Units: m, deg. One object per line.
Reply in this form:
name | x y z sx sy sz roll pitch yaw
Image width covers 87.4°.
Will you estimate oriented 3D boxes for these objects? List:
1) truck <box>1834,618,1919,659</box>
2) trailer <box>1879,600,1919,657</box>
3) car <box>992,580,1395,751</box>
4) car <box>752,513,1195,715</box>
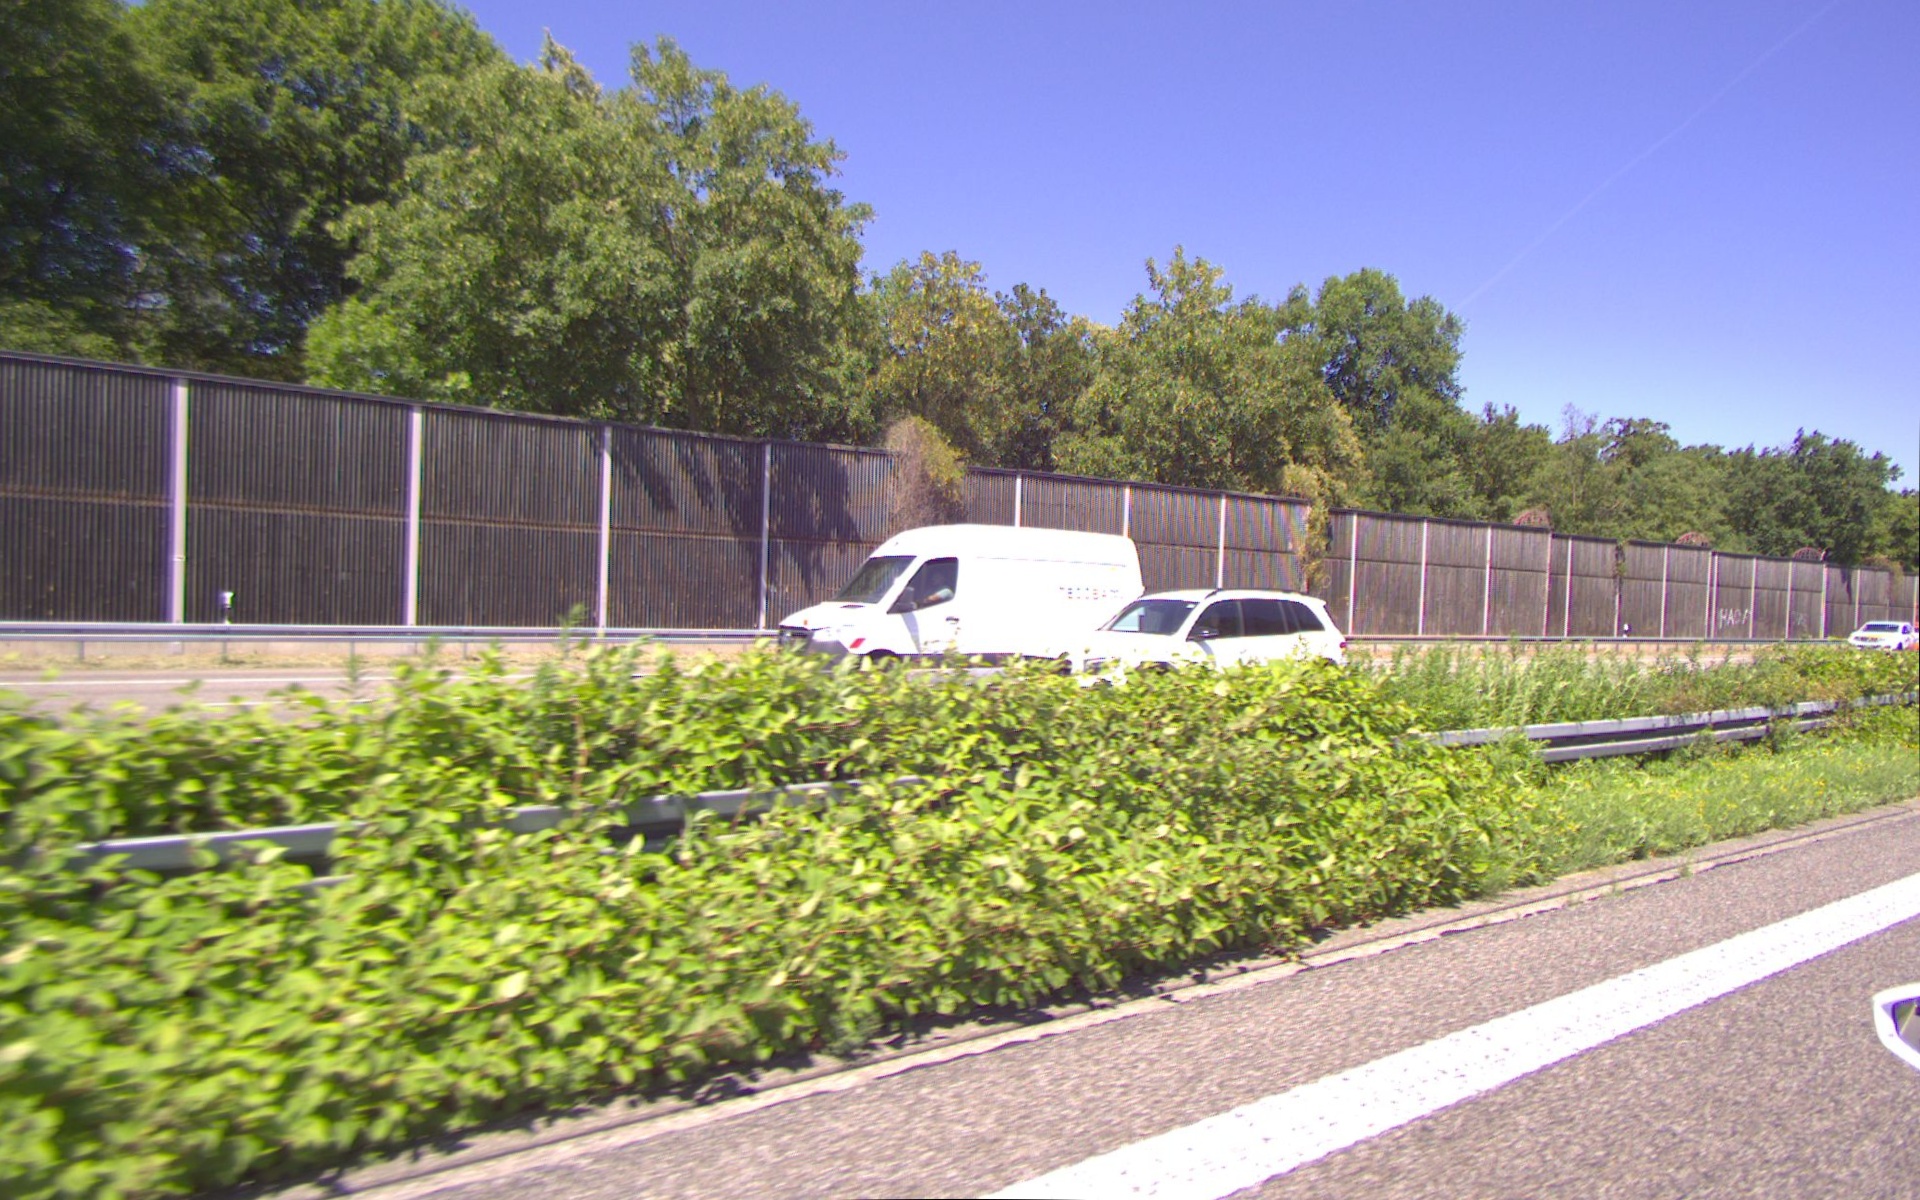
truck | 44.906 1.862 48.712 6.142 1.840 2.089 2 0 -32
trailer | 50.251 1.511 52.063 6.437 2.813 2.230 2 0 -32
car | 3.025 0.719 12.626 4.968 1.743 1.984 1 2 -32
car | 0.394 0.209 15.521 6.714 2.575 2.152 1 2 -32
